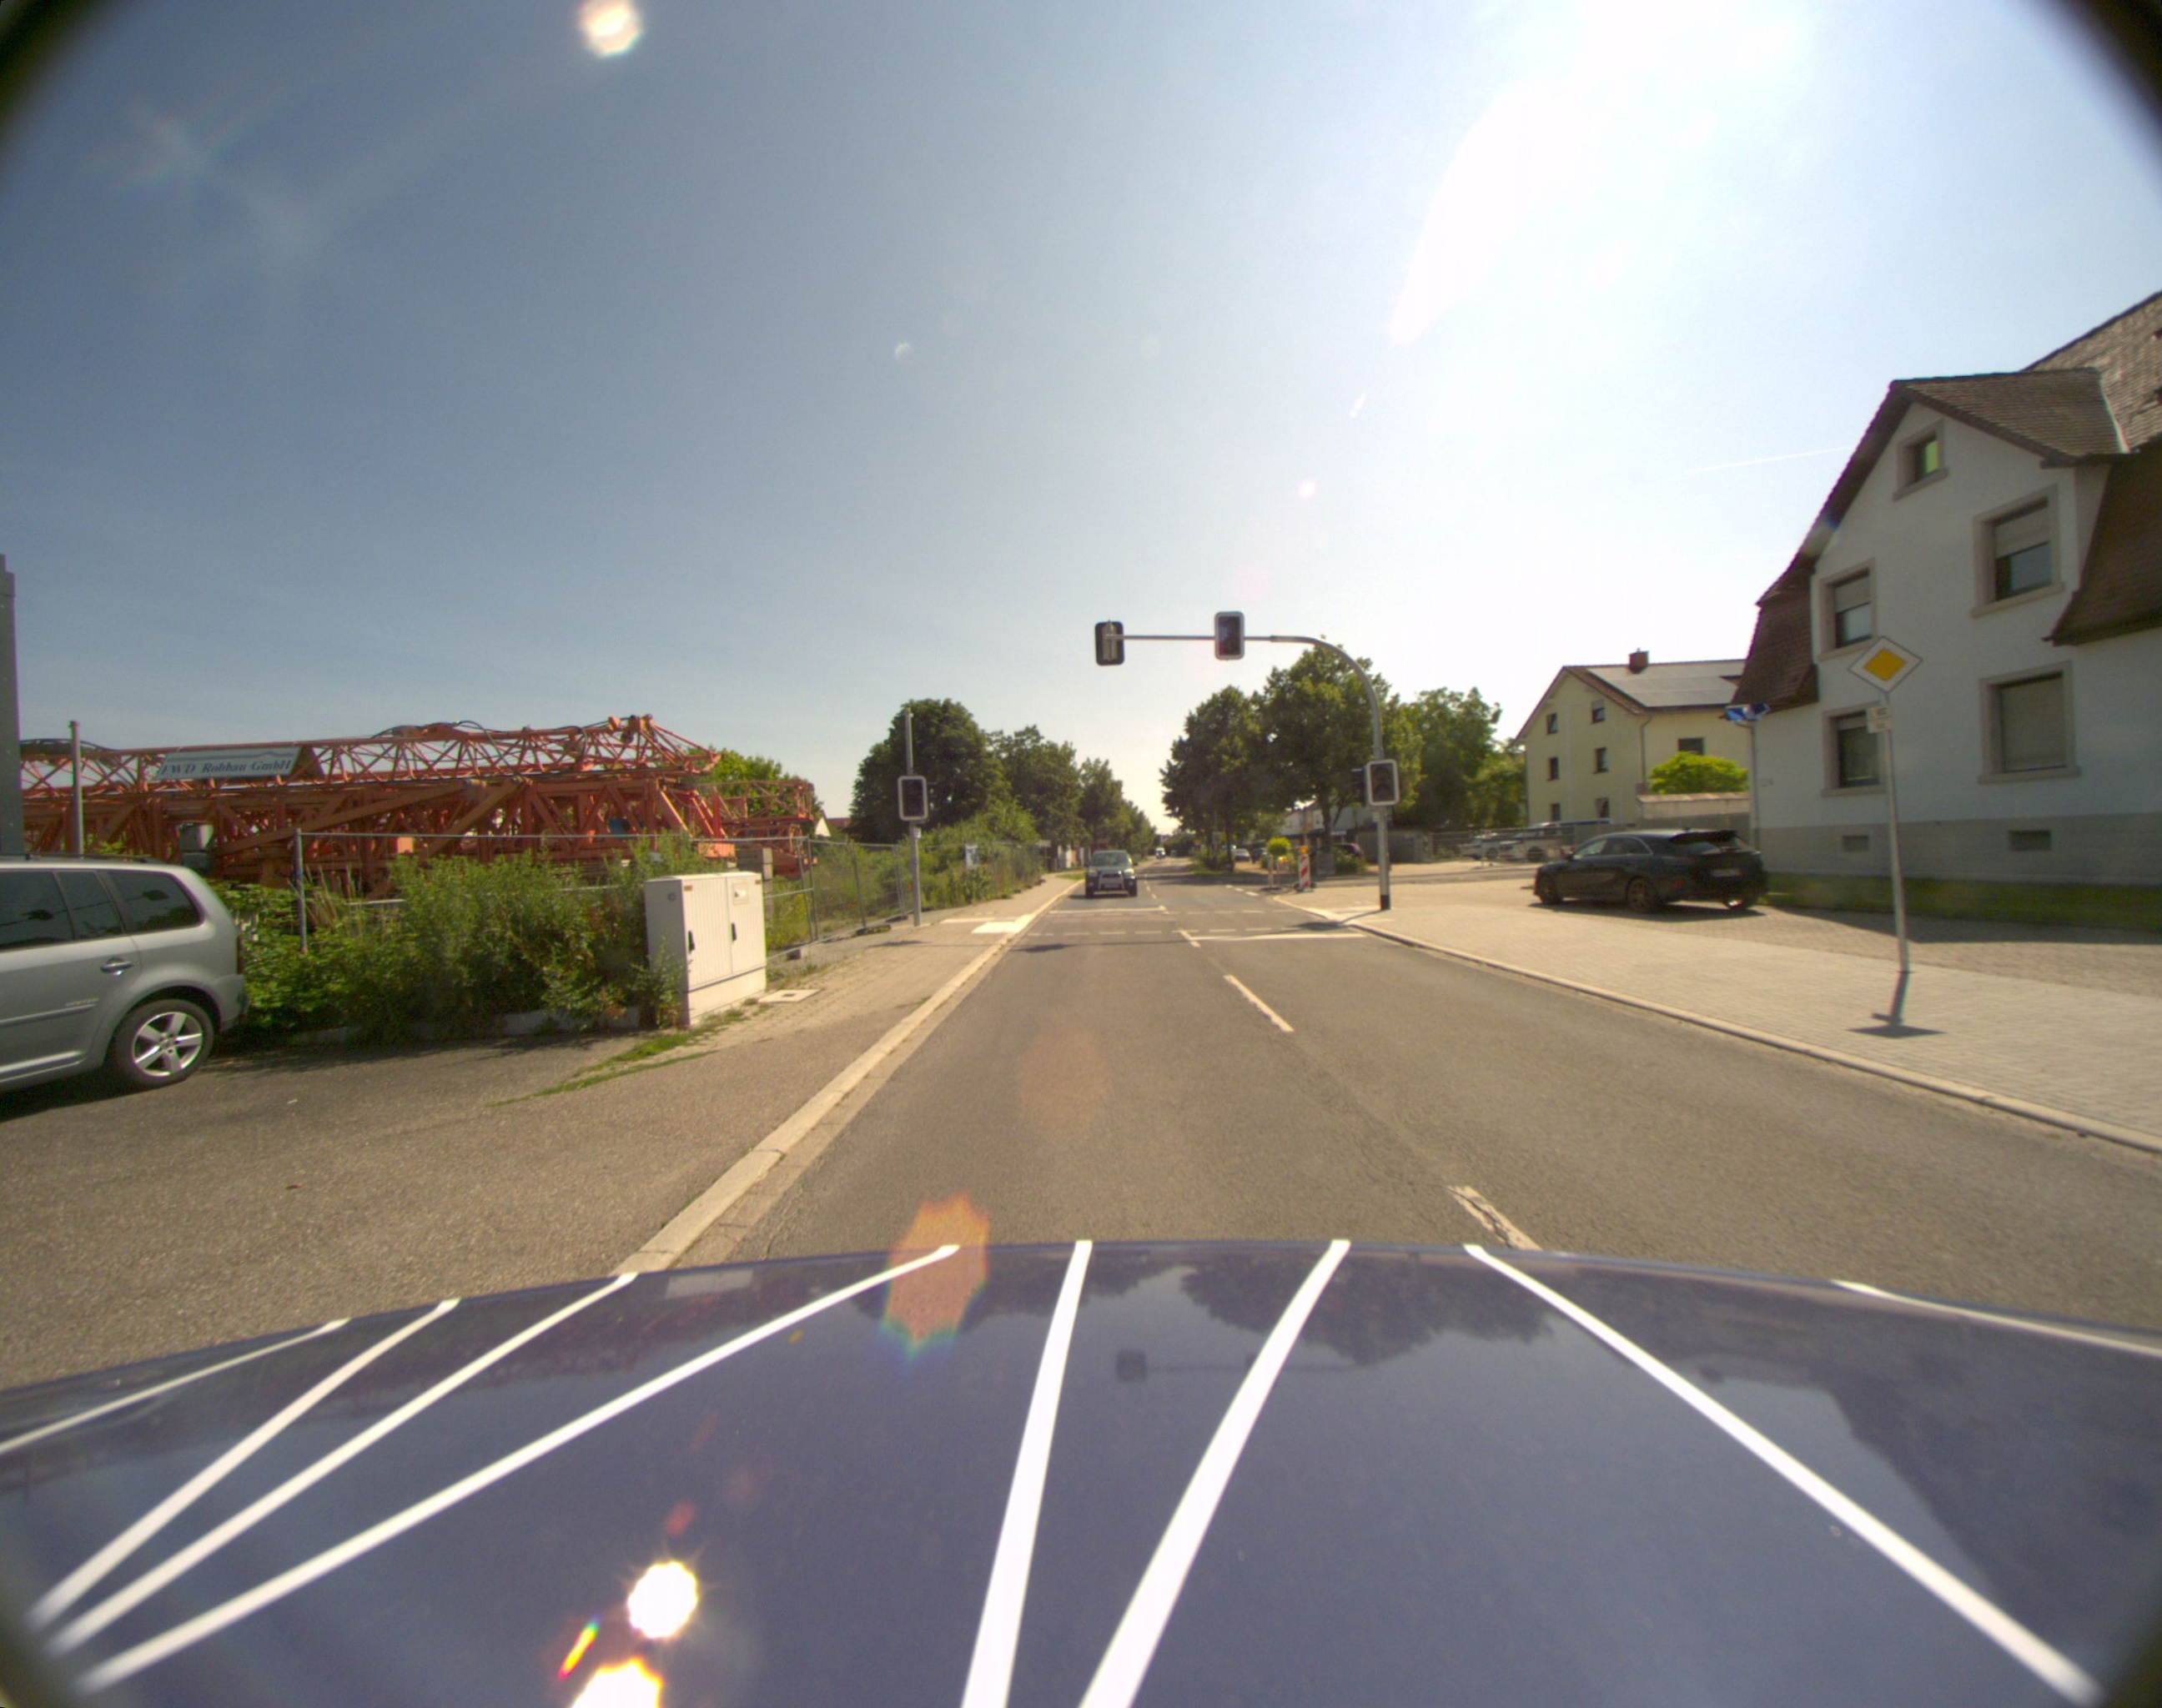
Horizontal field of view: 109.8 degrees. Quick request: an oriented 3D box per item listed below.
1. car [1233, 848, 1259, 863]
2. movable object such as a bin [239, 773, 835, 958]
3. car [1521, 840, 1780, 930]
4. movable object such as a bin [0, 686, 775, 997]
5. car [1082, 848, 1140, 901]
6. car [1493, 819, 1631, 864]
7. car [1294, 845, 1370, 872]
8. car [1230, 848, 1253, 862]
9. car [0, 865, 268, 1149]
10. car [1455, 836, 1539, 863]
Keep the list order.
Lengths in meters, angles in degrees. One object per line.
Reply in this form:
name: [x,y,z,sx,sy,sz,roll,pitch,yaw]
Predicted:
car: [16.923,0.146,78.034,1.998,1.496,4.001,-2,0,4]
movable object such as a bin: [-13.681,0.264,20.019,13.289,4.141,2.862,-2,0,-2]
car: [10.326,0.454,14.299,1.718,1.399,4.397,-1,1,2]
movable object such as a bin: [-13.445,-0.101,11.708,16.095,3.995,2.773,-2,0,-2]
car: [1.051,0.722,27.548,1.848,1.686,4.399,-3,-1,1]
car: [24.027,-0.623,38.102,5.624,2.033,2.000,-2,0,0]
car: [15.306,0.269,46.372,3.989,1.496,2.004,-2,0,34]
car: [18.307,0.075,86.942,1.998,1.496,4.001,-2,0,4]
car: [-7.233,0.895,3.835,1.809,1.676,4.367,0,-1,-5]
car: [25.284,-0.273,46.249,3.997,1.496,2.000,-2,0,1]
